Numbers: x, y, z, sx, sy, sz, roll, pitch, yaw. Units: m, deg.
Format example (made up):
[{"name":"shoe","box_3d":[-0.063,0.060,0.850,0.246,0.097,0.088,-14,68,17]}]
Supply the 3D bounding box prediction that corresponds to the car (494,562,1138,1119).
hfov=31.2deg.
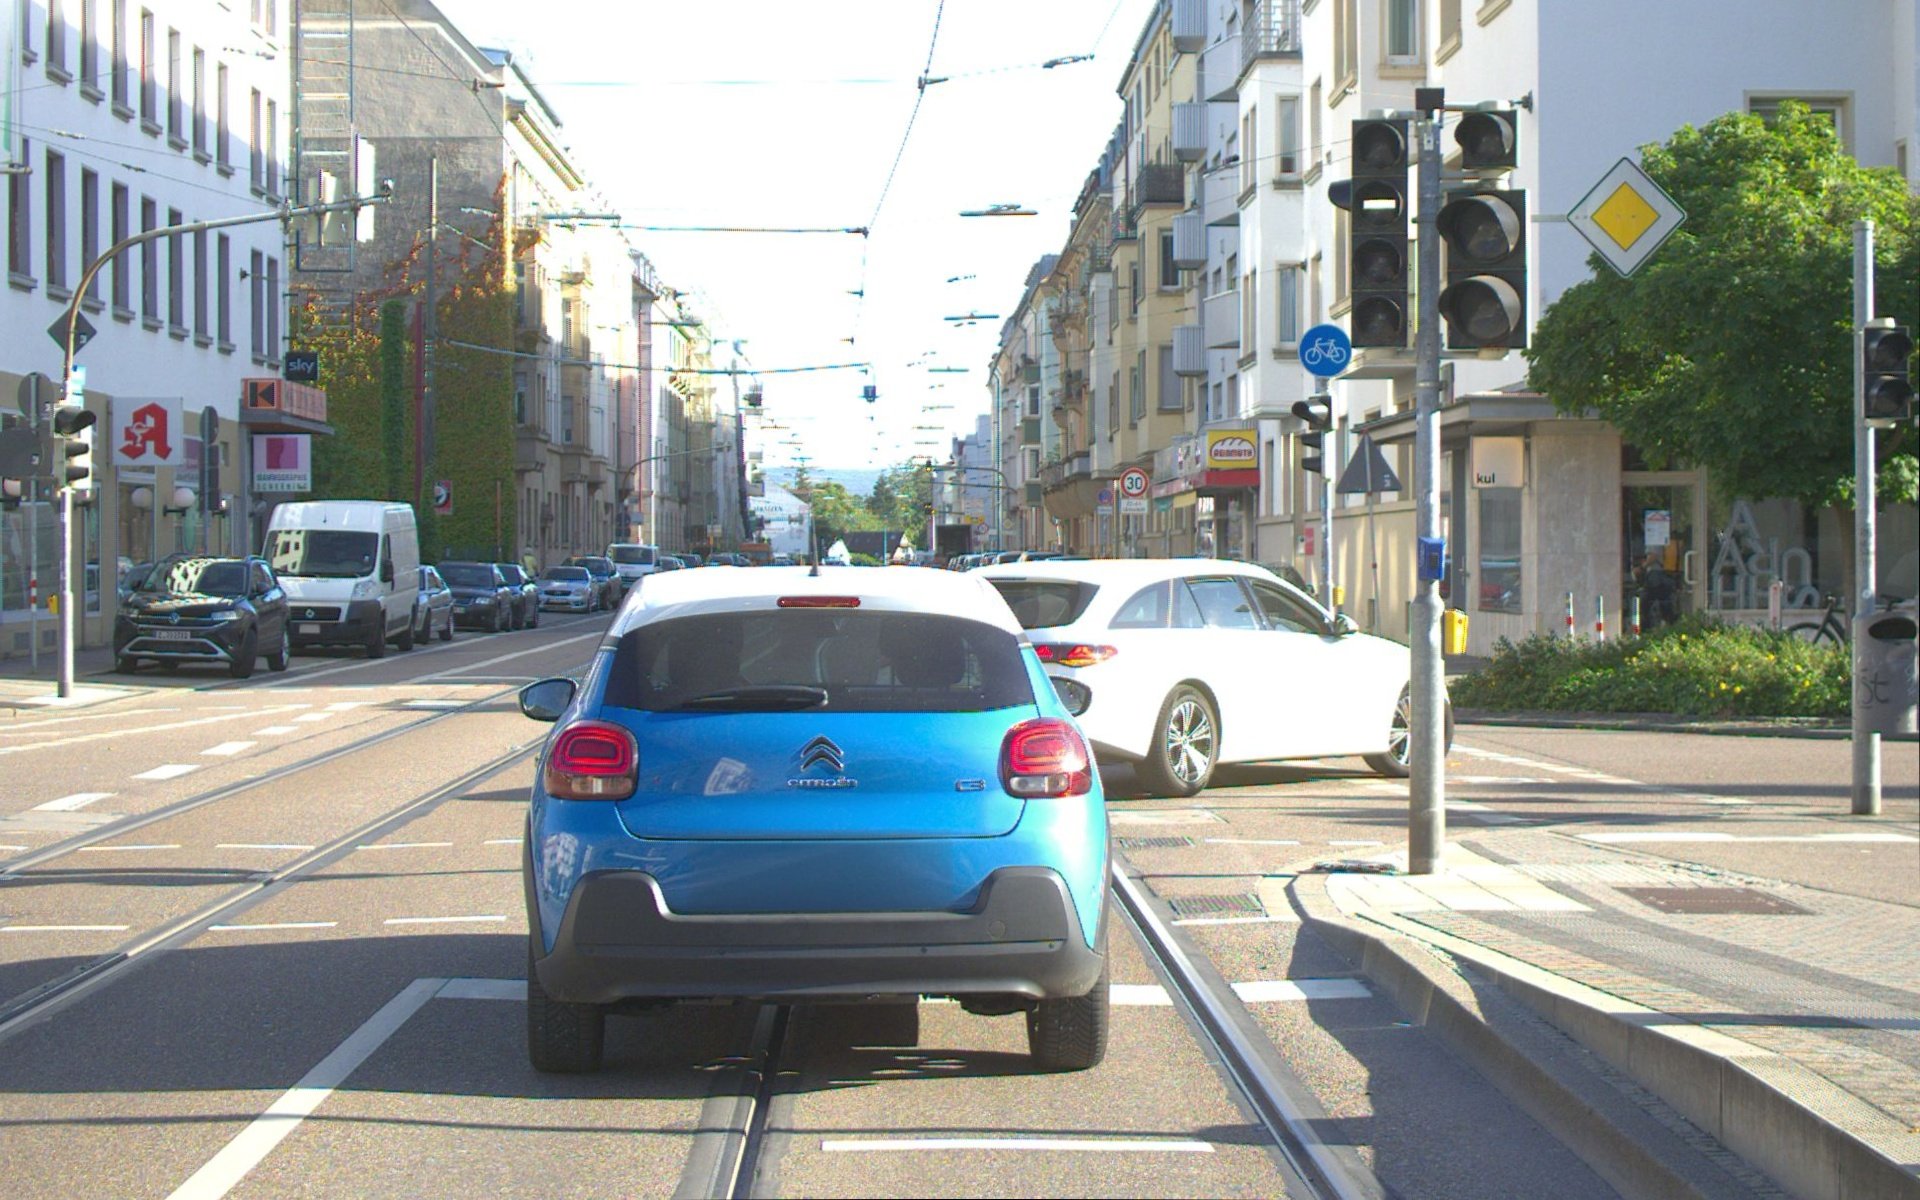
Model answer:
[{"name":"car","box_3d":[-0.420,0.635,11.260,1.728,1.477,3.827,1,1,-1]}]

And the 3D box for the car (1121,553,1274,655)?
[{"name":"car","box_3d":[3.485,0.037,51.022,1.993,1.459,4.000,0,1,0]}]

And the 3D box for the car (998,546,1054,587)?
[{"name":"car","box_3d":[2.403,-1.238,126.519,1.993,1.459,4.000,0,1,0]}]

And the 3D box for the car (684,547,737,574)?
[{"name":"car","box_3d":[-10.671,-1.711,147.491,1.993,1.152,4.000,0,1,0]}]

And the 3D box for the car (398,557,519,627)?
[{"name":"car","box_3d":[-10.381,-0.171,71.415,1.993,1.393,4.157,1,0,-2]}]

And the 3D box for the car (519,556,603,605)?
[{"name":"car","box_3d":[-11.154,-0.540,96.369,1.993,1.320,3.923,1,0,-2]}]

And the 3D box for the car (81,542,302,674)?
[{"name":"car","box_3d":[-10.141,0.088,45.687,1.993,1.563,4.403,3,0,-2]}]

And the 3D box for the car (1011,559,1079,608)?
[{"name":"car","box_3d":[2.579,-0.526,104.967,1.993,1.459,4.000,0,1,0]}]

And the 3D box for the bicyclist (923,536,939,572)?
[{"name":"bicyclist","box_3d":[-1.627,-2.586,192.740,0.809,2.007,0.922,1,0,1]}]

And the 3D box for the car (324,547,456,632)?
[{"name":"car","box_3d":[-10.360,-0.195,62.728,1.888,1.491,3.562,1,0,-2]}]

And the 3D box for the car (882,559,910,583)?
[{"name":"car","box_3d":[-4.660,-2.130,250.737,1.993,1.766,4.000,0,1,-1]}]

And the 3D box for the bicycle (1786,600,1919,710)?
[{"name":"bicycle","box_3d":[9.456,0.569,35.908,1.568,1.117,0.300,1,0,11]}]

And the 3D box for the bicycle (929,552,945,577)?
[{"name":"bicycle","box_3d":[-1.287,-2.006,193.031,0.920,1.384,3.132,0,1,0]}]

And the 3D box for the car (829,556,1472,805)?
[{"name":"car","box_3d":[1.389,0.464,22.747,1.989,1.459,4.805,1,0,35]}]

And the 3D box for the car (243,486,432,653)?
[{"name":"car","box_3d":[-10.064,-0.502,56.044,2.085,2.533,6.206,1,1,-2]}]

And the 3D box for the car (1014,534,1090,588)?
[{"name":"car","box_3d":[2.542,-1.092,95.625,1.993,1.459,4.504,0,1,0]}]

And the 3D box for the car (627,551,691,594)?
[{"name":"car","box_3d":[-11.374,-1.027,130.128,1.955,1.547,3.938,1,0,2]}]

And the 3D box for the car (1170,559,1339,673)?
[{"name":"car","box_3d":[3.874,0.183,45.822,1.909,1.459,4.000,0,1,0]}]

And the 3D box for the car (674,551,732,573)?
[{"name":"car","box_3d":[-13.299,-1.965,178.100,1.994,1.152,4.513,0,1,9]}]

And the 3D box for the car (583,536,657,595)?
[{"name":"car","box_3d":[-11.853,-1.189,120.058,2.006,2.007,4.689,1,0,1]}]
